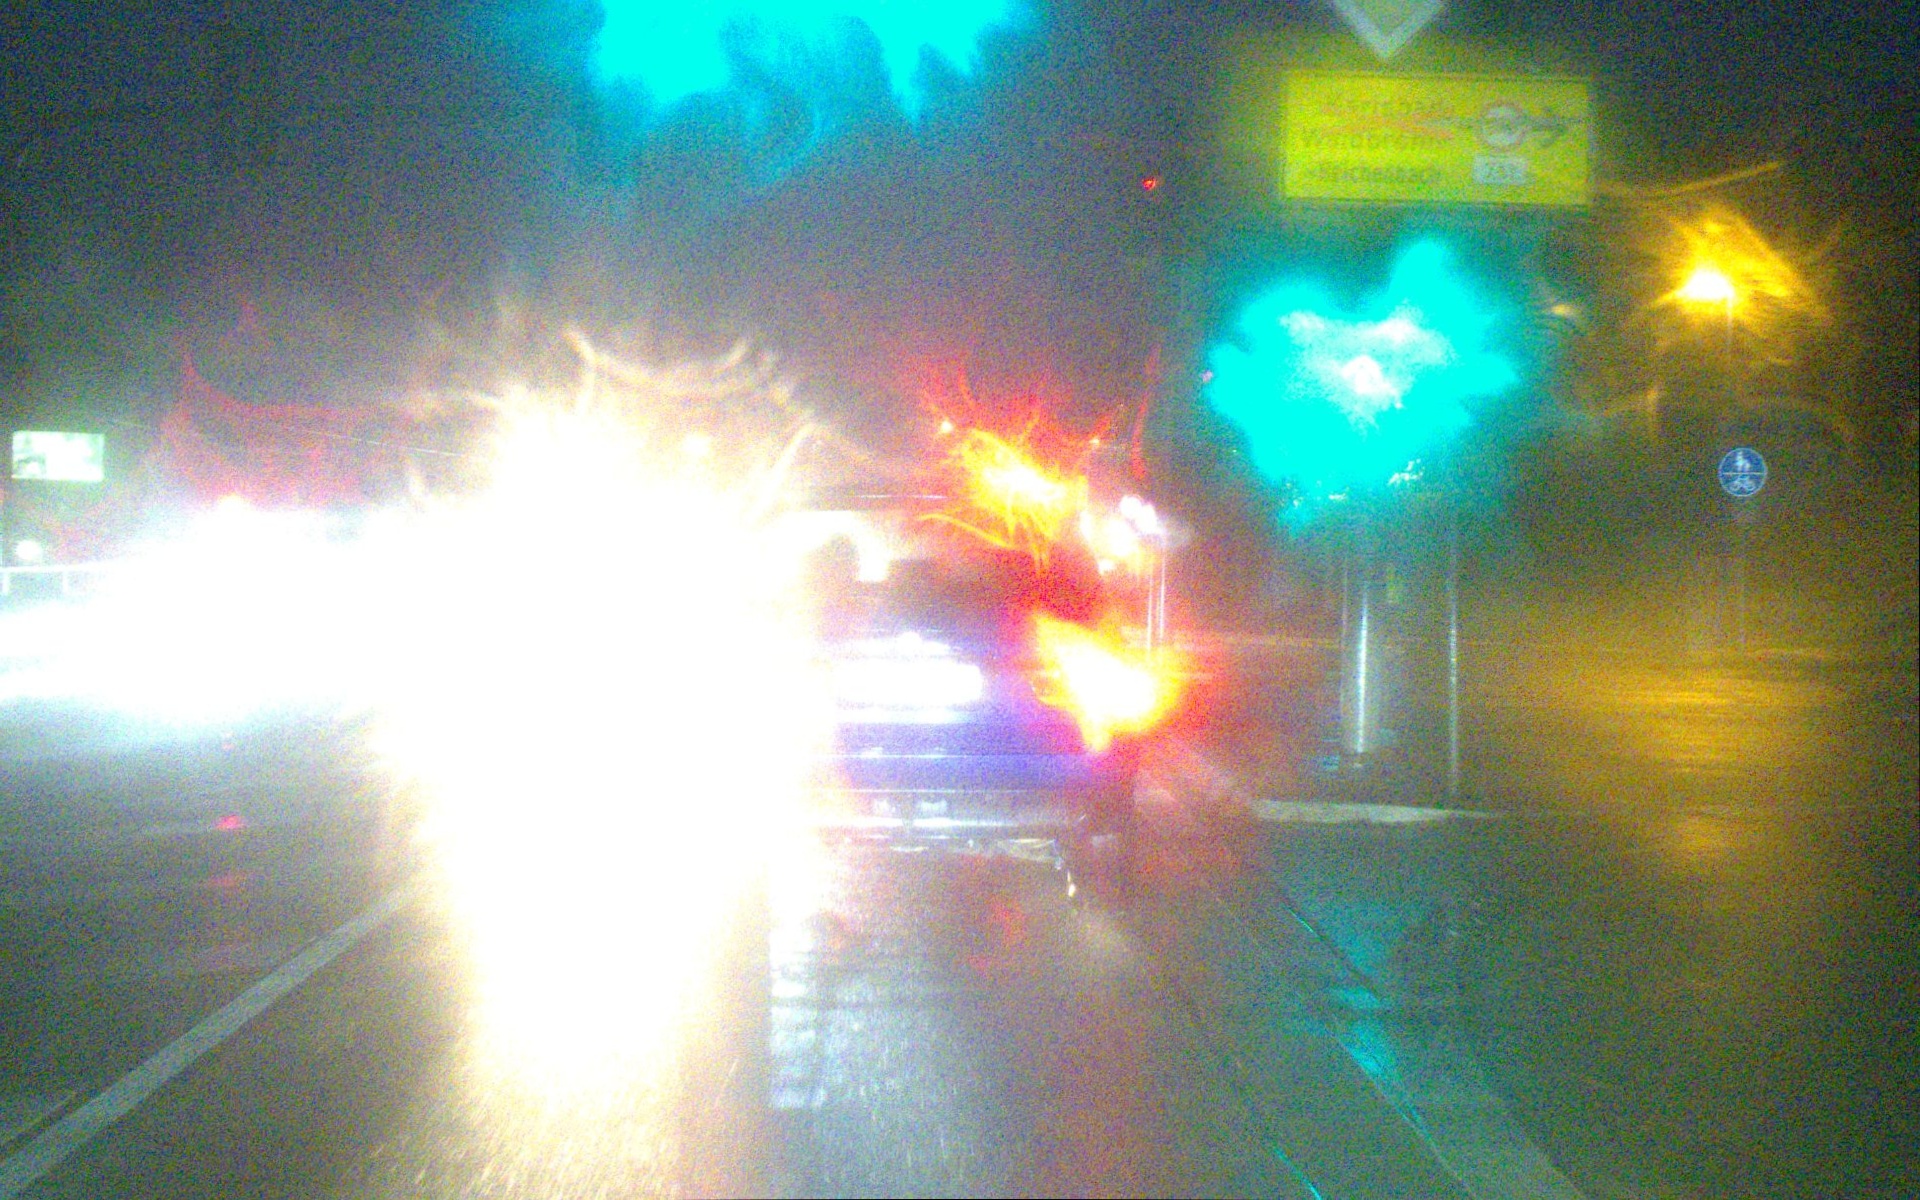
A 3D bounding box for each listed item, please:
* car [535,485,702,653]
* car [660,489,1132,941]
[{"bbox_3d":[-4.345,-0.353,43.909,1.993,2.007,4.000,-1,-1,-5],"label":"car"},{"bbox_3d":[-0.319,0.400,14.987,1.775,1.706,4.001,0,1,-2],"label":"car"}]
